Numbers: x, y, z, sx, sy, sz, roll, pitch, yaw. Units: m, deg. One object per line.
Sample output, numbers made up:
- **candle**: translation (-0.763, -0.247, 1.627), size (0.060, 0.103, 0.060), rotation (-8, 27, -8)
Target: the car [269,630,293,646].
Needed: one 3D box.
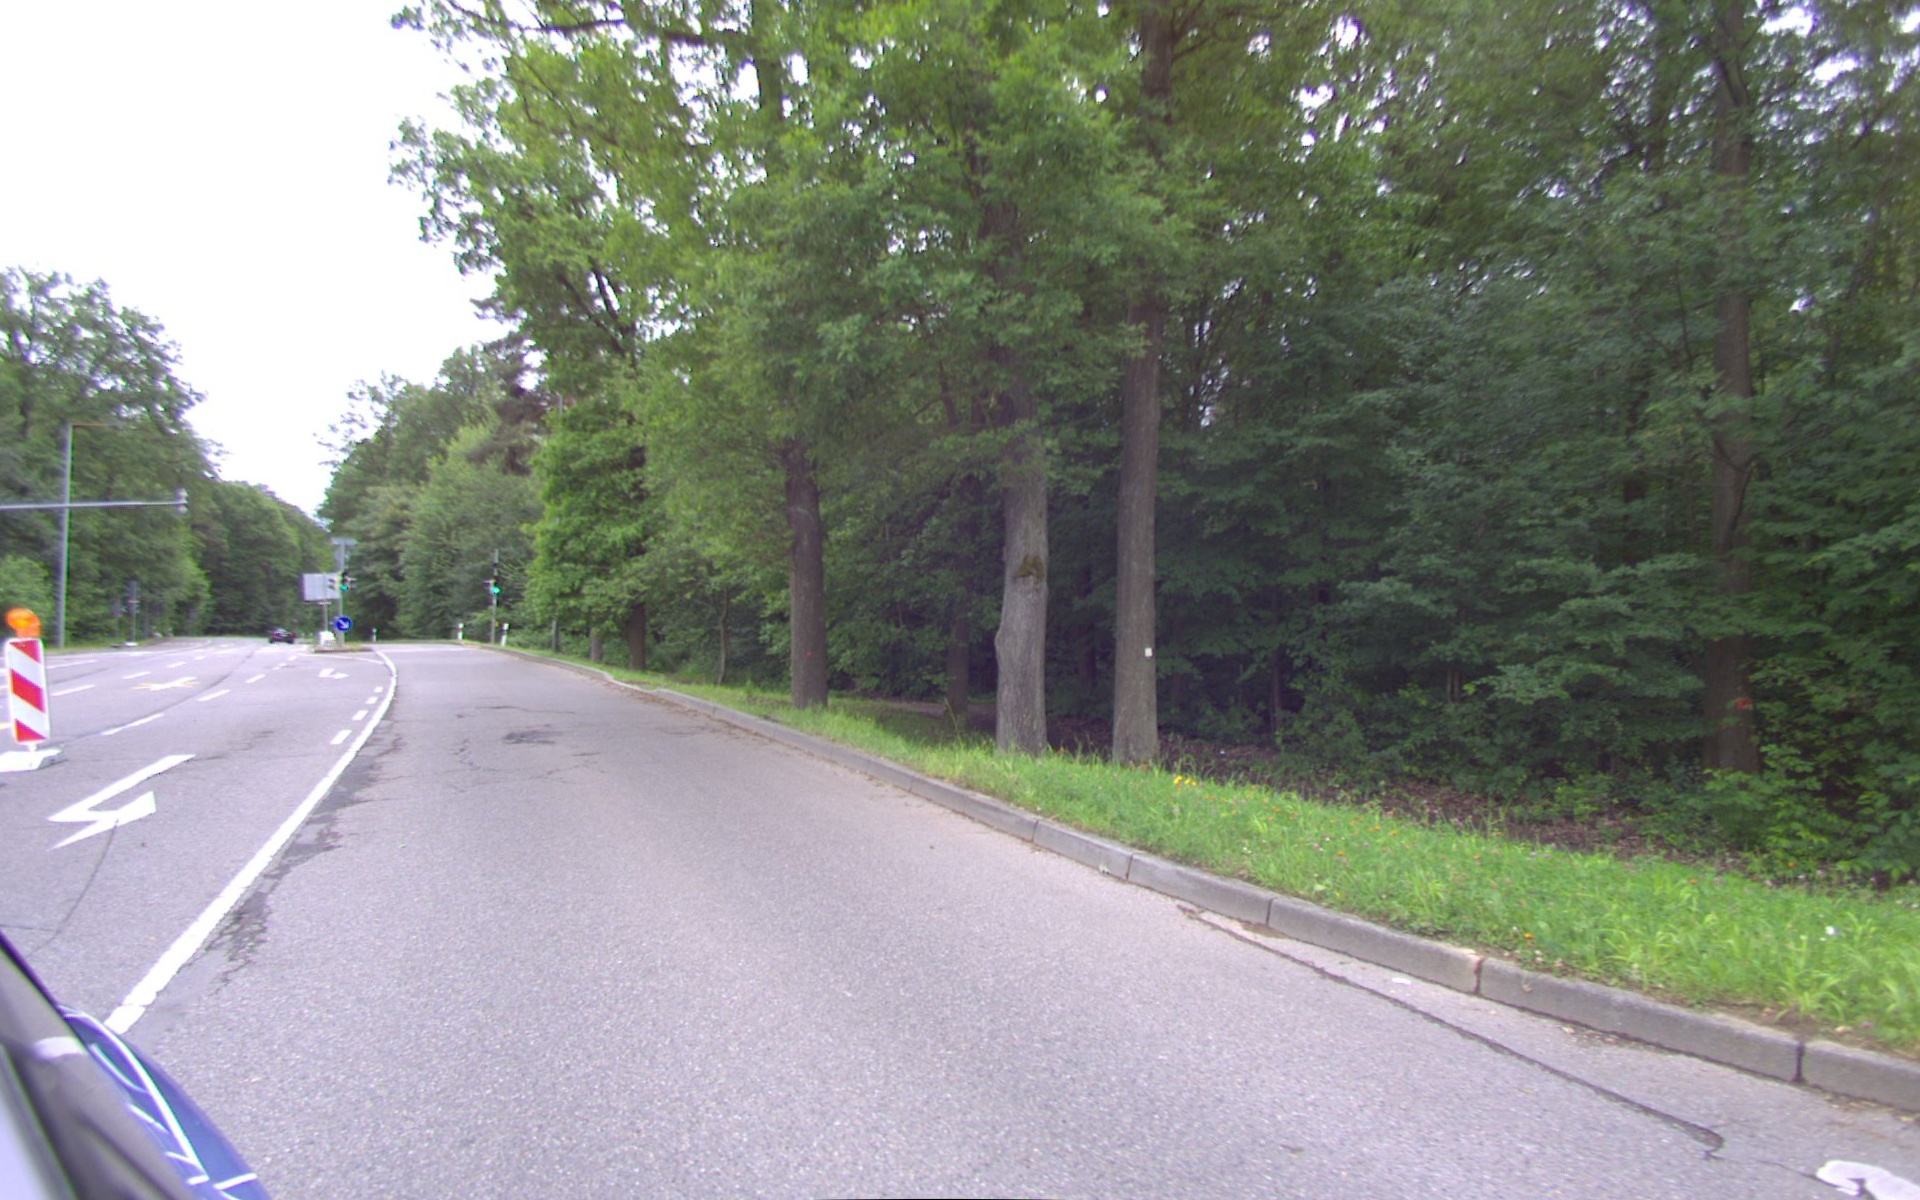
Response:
- **car**: translation (-60.526, 3.382, 90.213), size (1.723, 1.340, 4.011), rotation (0, 0, -34)
